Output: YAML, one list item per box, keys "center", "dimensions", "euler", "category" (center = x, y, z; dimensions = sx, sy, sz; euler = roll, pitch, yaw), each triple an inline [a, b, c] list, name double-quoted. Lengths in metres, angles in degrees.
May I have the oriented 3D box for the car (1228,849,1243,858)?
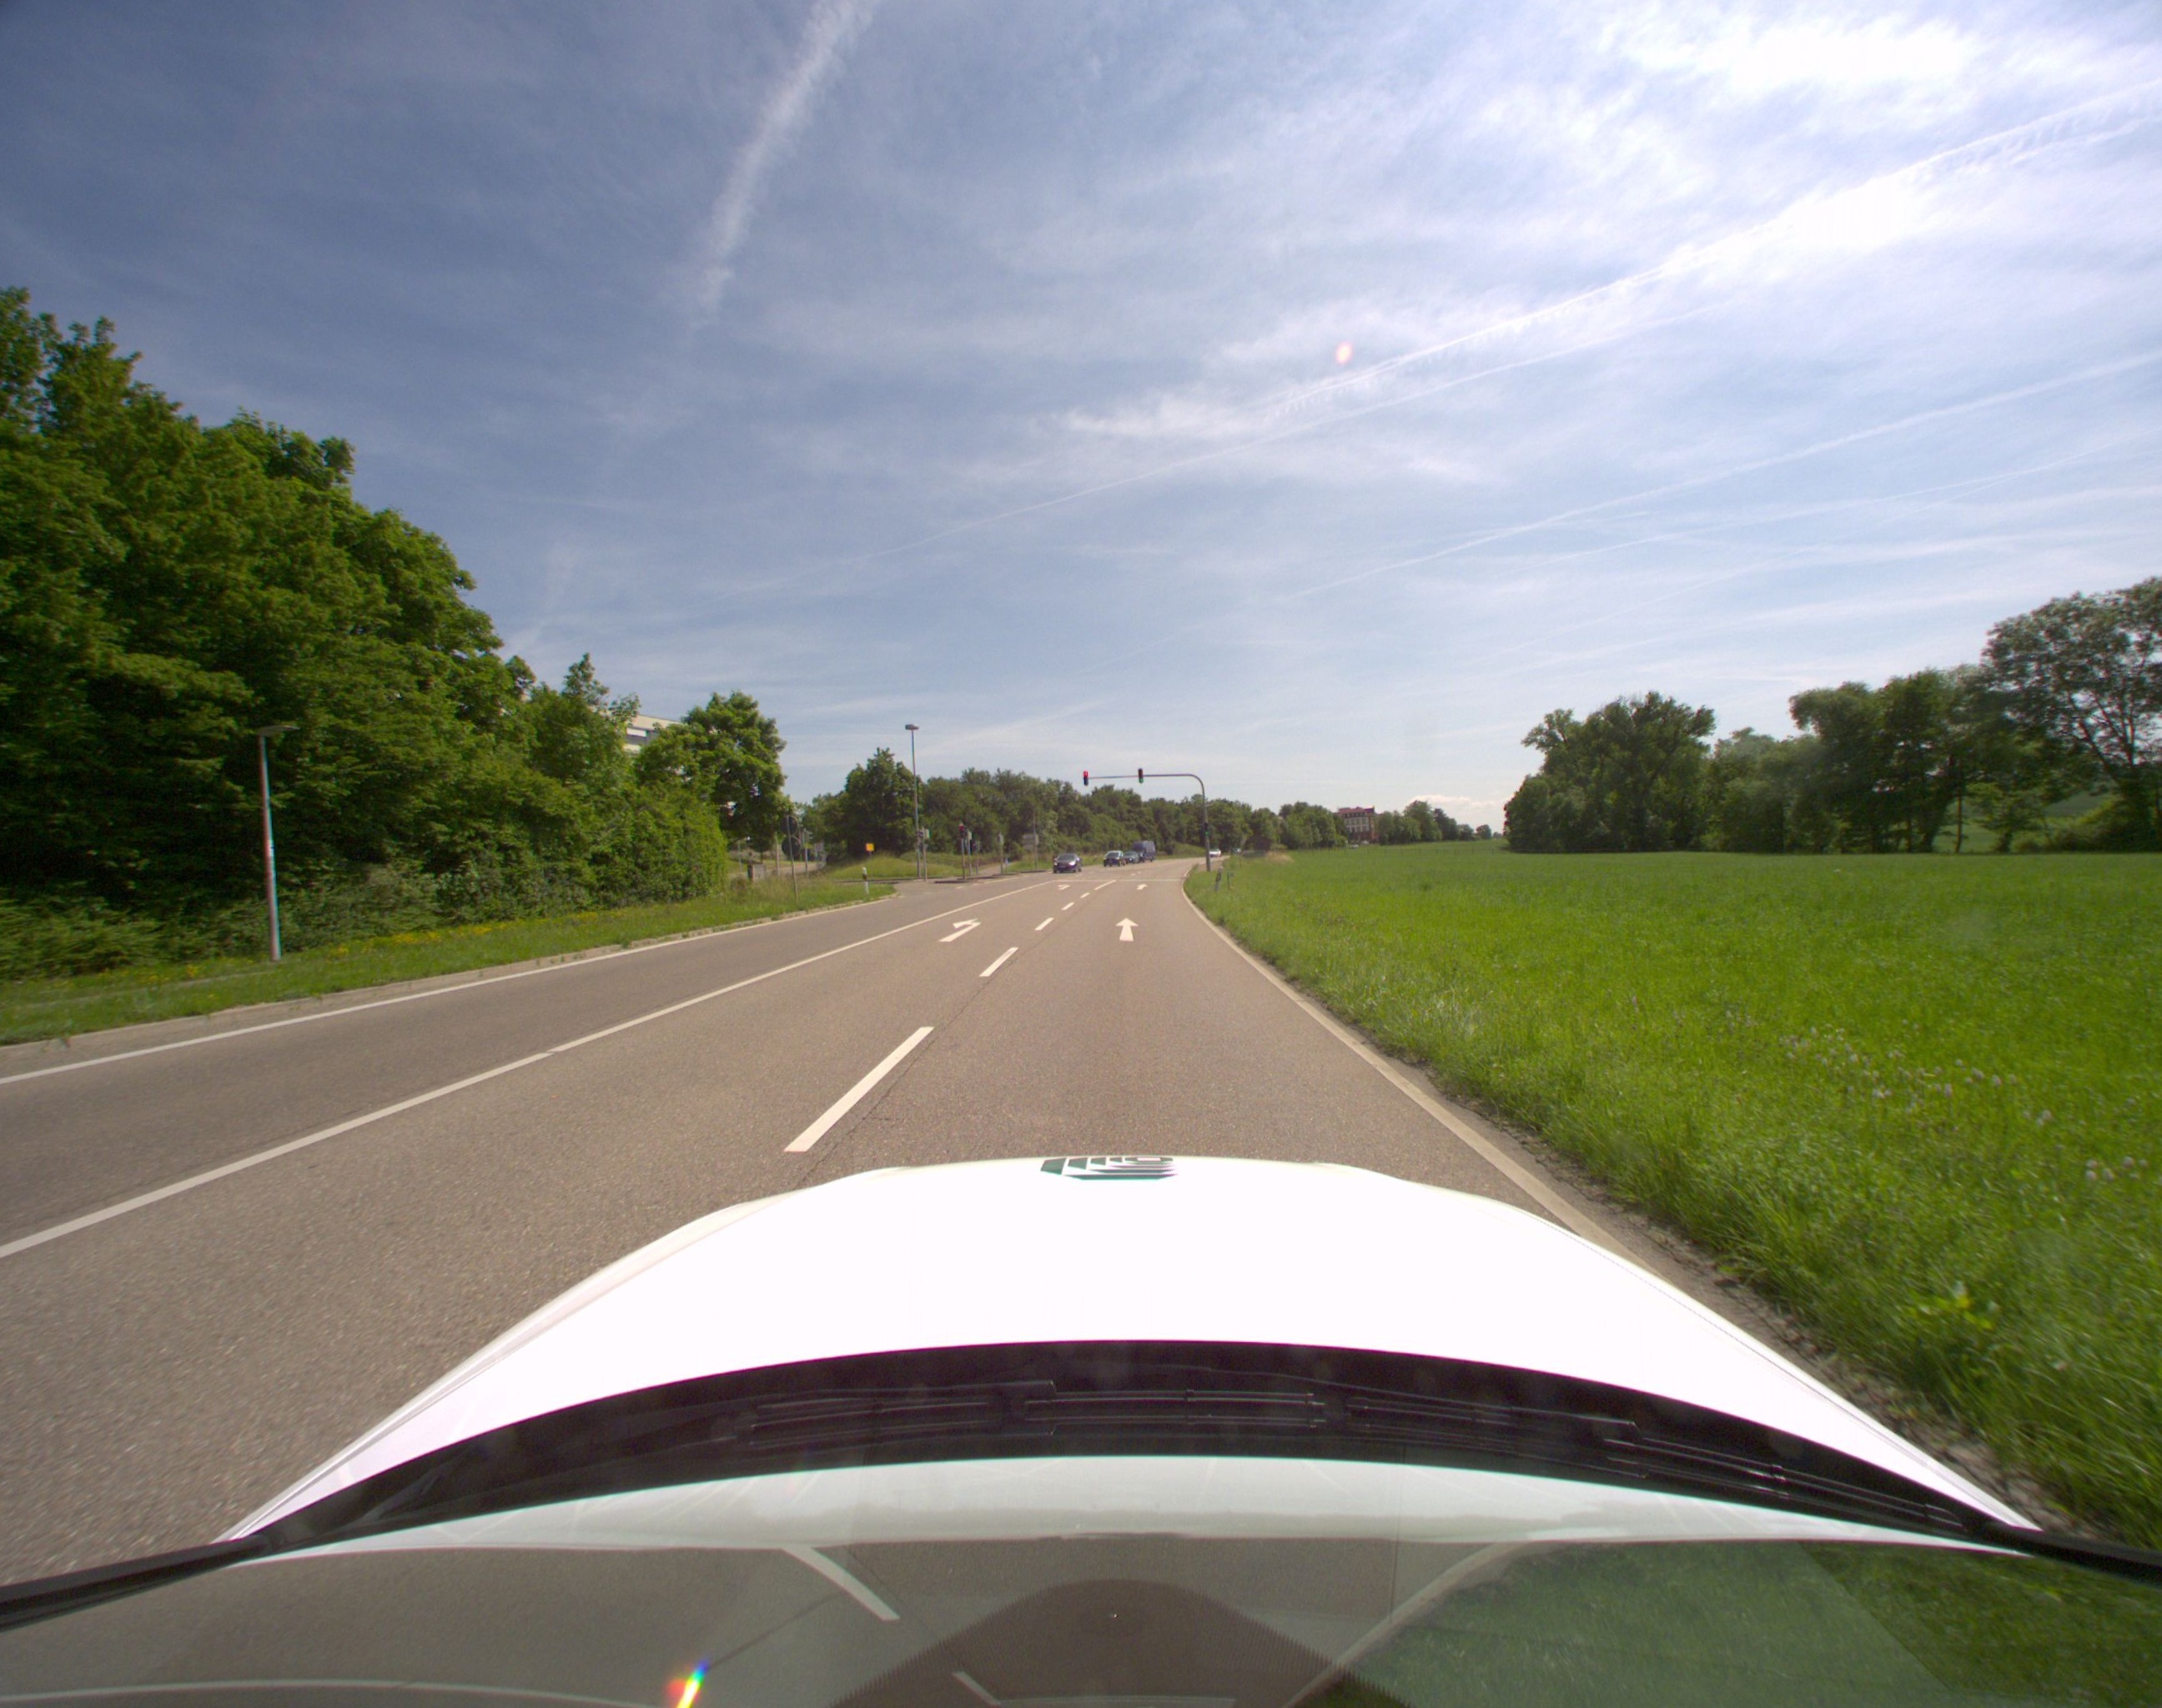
- center: [27.933, -0.126, 147.073]
  dimensions: [1.976, 1.574, 4.022]
  euler: [-2, 0, 22]
  category: "car"

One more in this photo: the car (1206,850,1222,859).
- center: [24.444, 0.046, 149.604]
  dimensions: [1.920, 1.548, 4.653]
  euler: [-2, 0, 24]
  category: "car"

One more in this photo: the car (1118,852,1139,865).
- center: [5.715, 0.509, 97.371]
  dimensions: [1.694, 1.483, 3.847]
  euler: [-1, 0, 15]
  category: "car"

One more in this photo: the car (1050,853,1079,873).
- center: [-1.267, 0.670, 63.866]
  dimensions: [1.783, 1.474, 4.316]
  euler: [-1, 0, 5]
  category: "car"

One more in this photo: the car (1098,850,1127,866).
- center: [3.348, 0.366, 84.817]
  dimensions: [1.959, 1.562, 4.208]
  euler: [-2, 0, 17]
  category: "car"

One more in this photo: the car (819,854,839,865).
- center: [-36.887, 0.766, 119.389]
  dimensions: [1.991, 1.552, 3.991]
  euler: [-1, 0, -6]
  category: "car"

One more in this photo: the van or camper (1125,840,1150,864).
- center: [7.491, -0.301, 107.378]
  dimensions: [2.225, 2.913, 7.272]
  euler: [-2, 1, 12]
  category: "van or camper"
